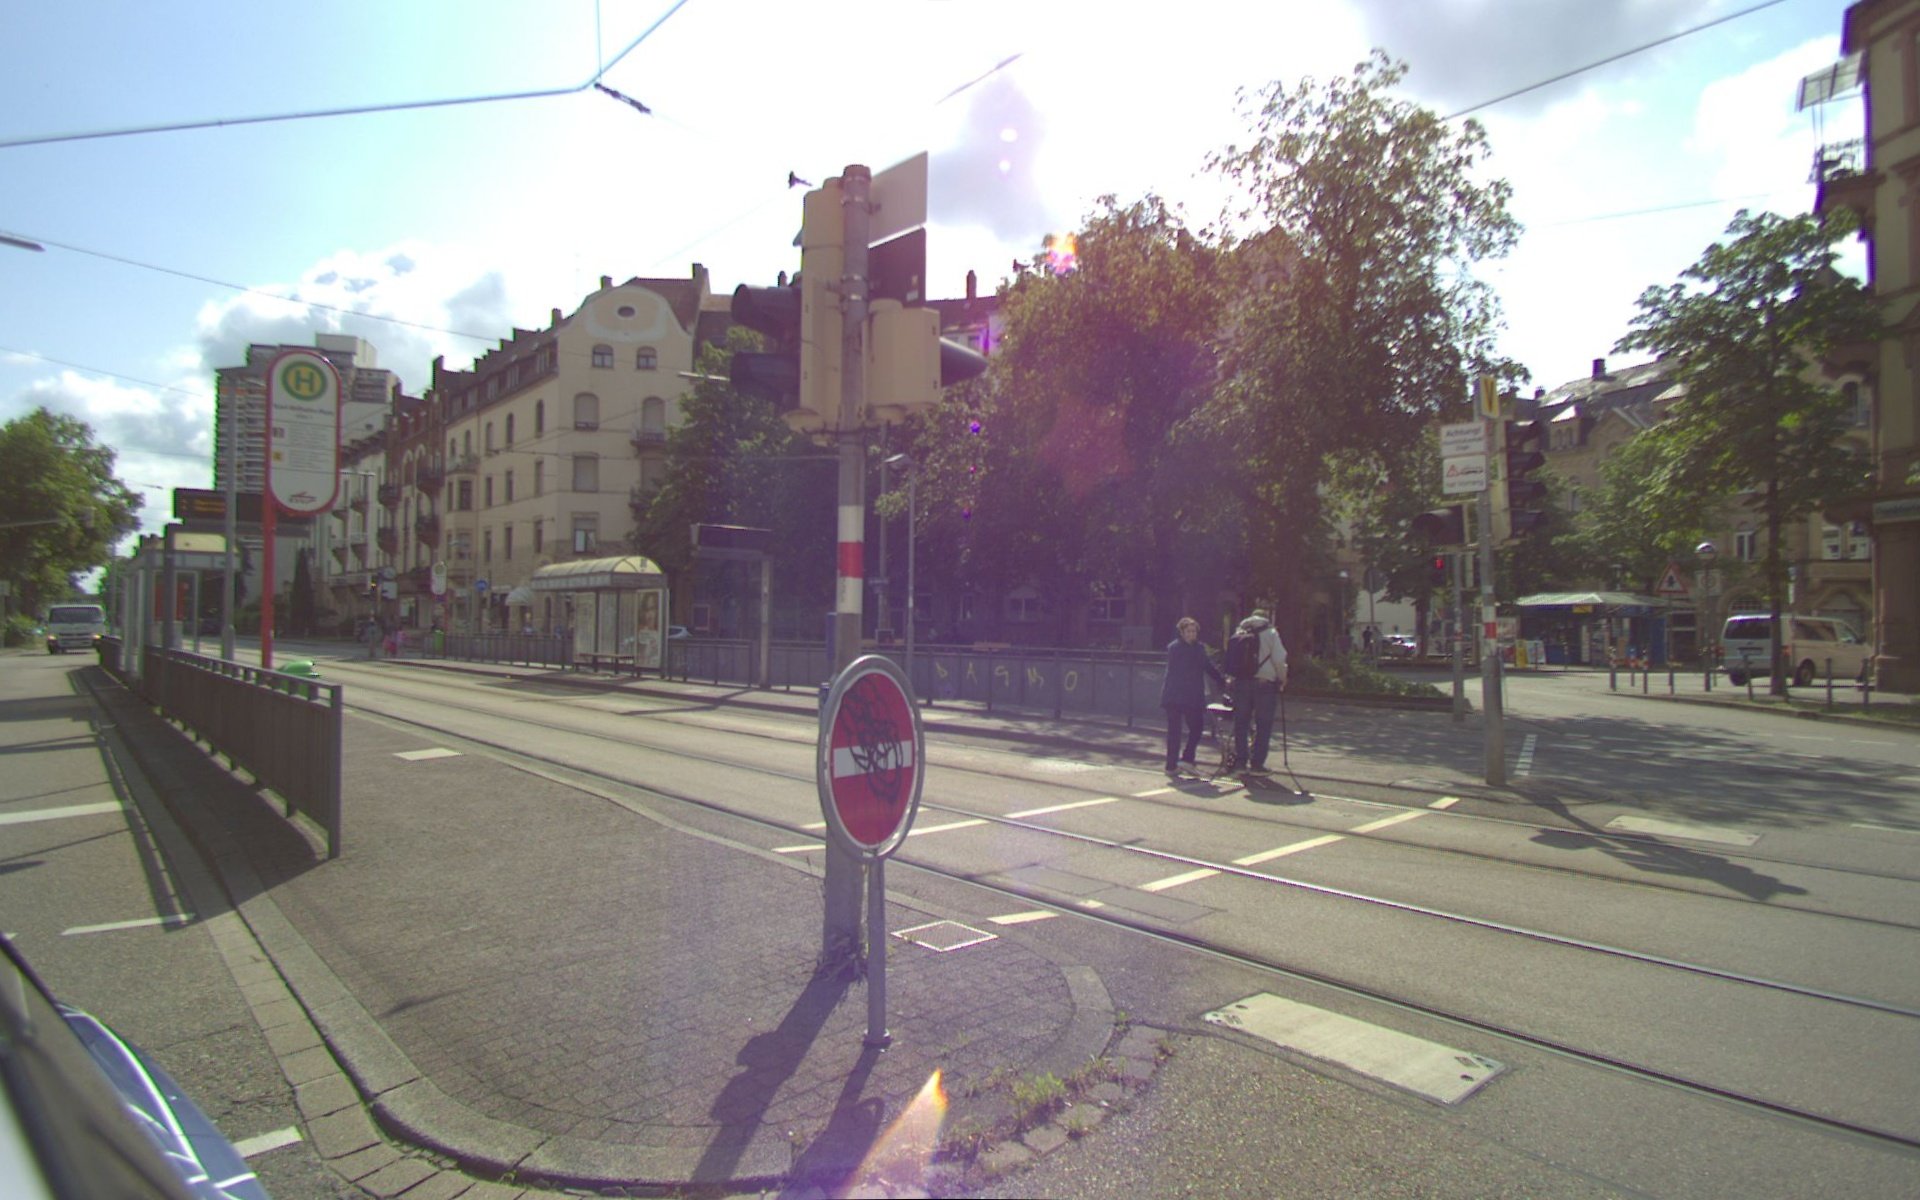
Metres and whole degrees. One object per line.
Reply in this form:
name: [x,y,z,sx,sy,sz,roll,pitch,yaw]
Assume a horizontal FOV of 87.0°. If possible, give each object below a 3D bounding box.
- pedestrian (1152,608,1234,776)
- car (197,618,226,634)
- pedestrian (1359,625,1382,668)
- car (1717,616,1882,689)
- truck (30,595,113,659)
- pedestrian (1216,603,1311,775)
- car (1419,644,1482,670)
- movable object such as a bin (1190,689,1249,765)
pedestrian: [2.318,0.884,10.060,0.584,1.586,0.707,-1,-2,34]
car: [-73.381,2.567,99.195,1.814,1.502,3.896,2,-2,-43]
pedestrian: [19.407,2.184,47.840,0.703,2.029,0.694,1,-2,-23]
car: [23.776,1.461,28.659,4.191,1.922,2.006,1,-2,-26]
truck: [-41.159,1.252,47.029,2.493,2.759,6.527,2,-2,-39]
pedestrian: [2.966,0.839,9.881,0.691,1.586,0.773,-1,-2,34]
car: [31.752,3.663,65.605,1.637,1.549,3.417,1,-2,-23]
movable object such as a bin: [2.697,1.310,10.522,0.456,0.723,0.506,-1,-2,34]
